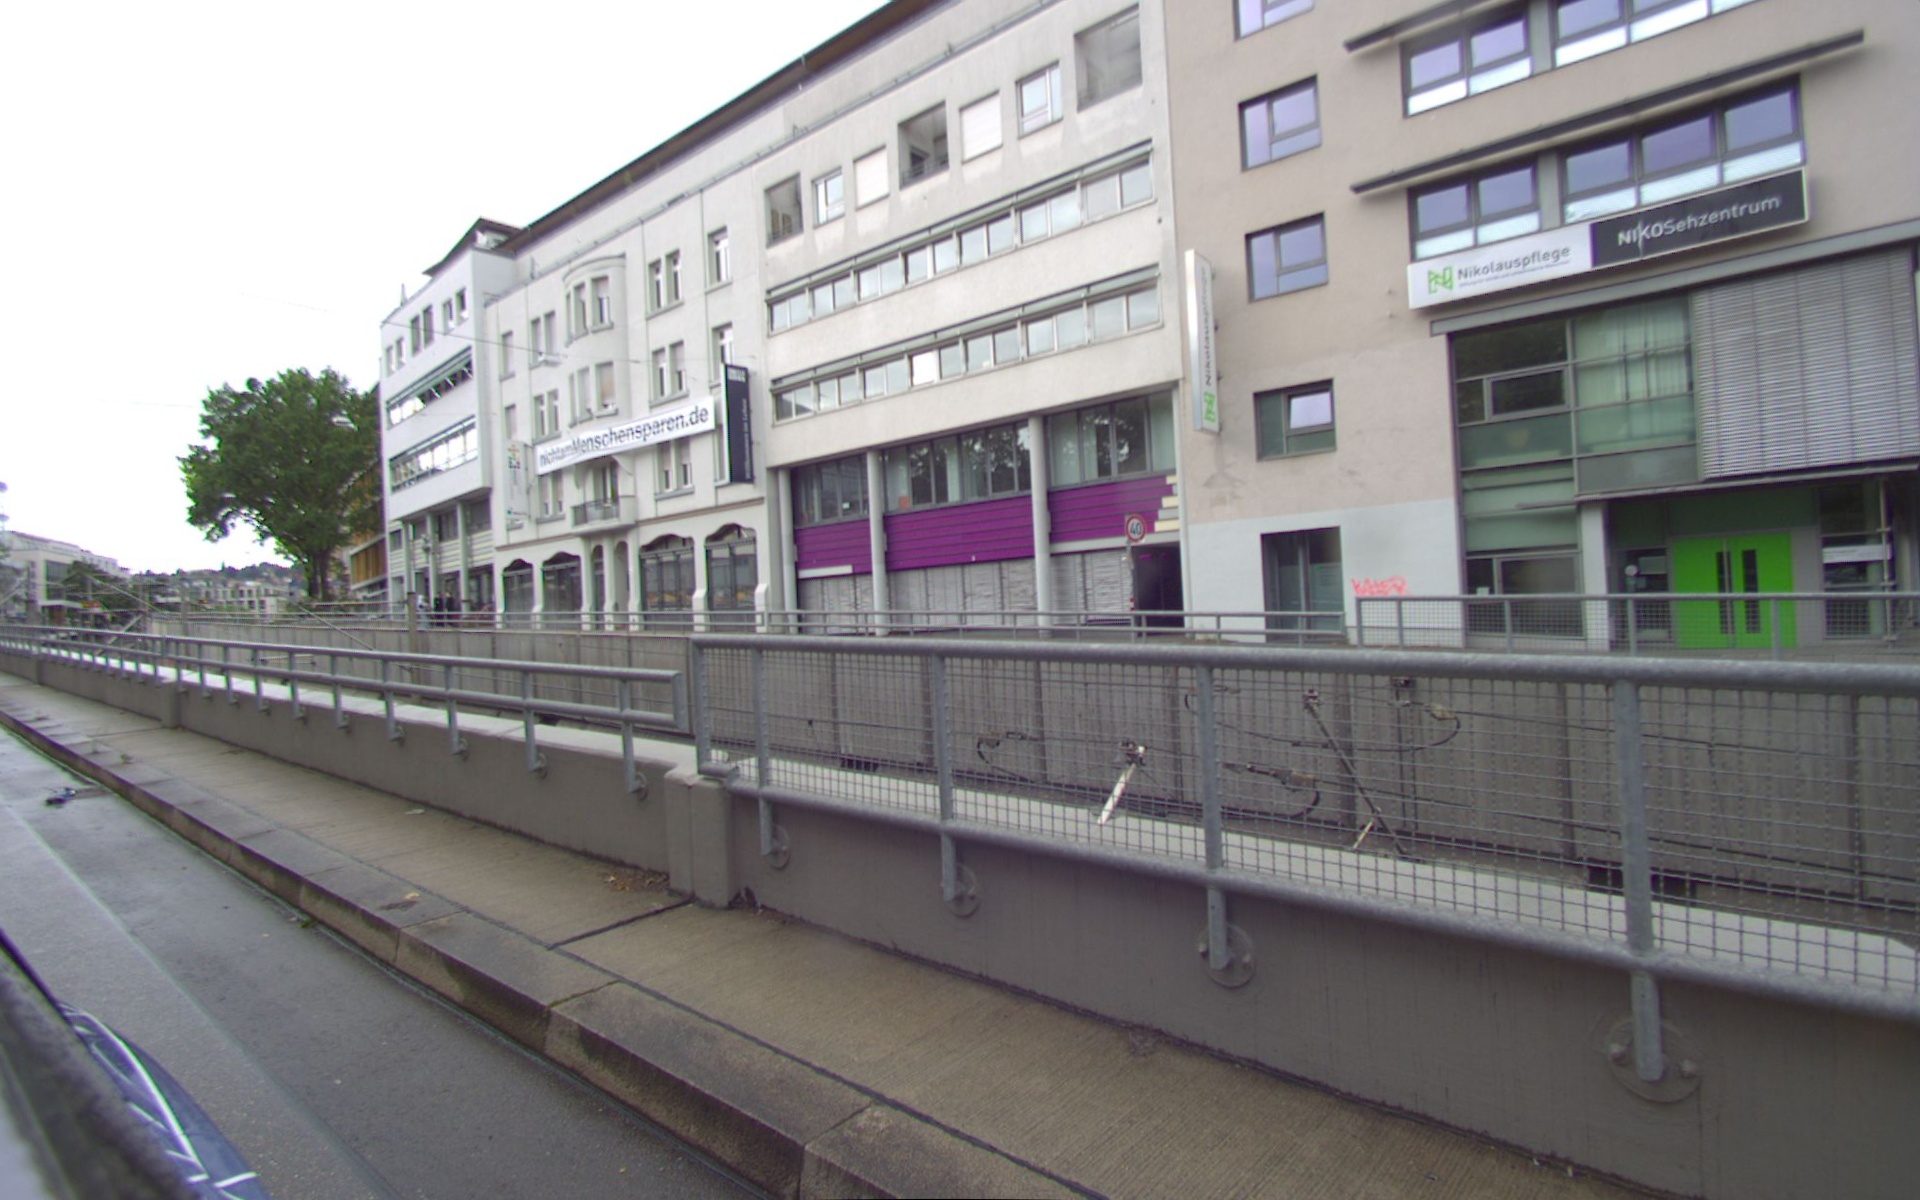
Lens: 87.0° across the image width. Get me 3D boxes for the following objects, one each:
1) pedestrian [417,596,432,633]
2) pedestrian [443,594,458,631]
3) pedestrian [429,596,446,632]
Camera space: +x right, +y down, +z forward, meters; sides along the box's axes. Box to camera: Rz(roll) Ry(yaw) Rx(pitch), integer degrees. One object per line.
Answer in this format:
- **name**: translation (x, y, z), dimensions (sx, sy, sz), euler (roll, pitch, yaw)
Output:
- **pedestrian**: translation (-26.720, 0.704, 50.511), dimensions (0.463, 1.816, 0.548), euler (-3, 1, -42)
- **pedestrian**: translation (-25.416, 0.608, 50.462), dimensions (0.547, 1.816, 0.463), euler (-2, 1, 44)
- **pedestrian**: translation (-26.431, 0.708, 51.210), dimensions (0.469, 1.816, 0.541), euler (-2, 1, 33)
